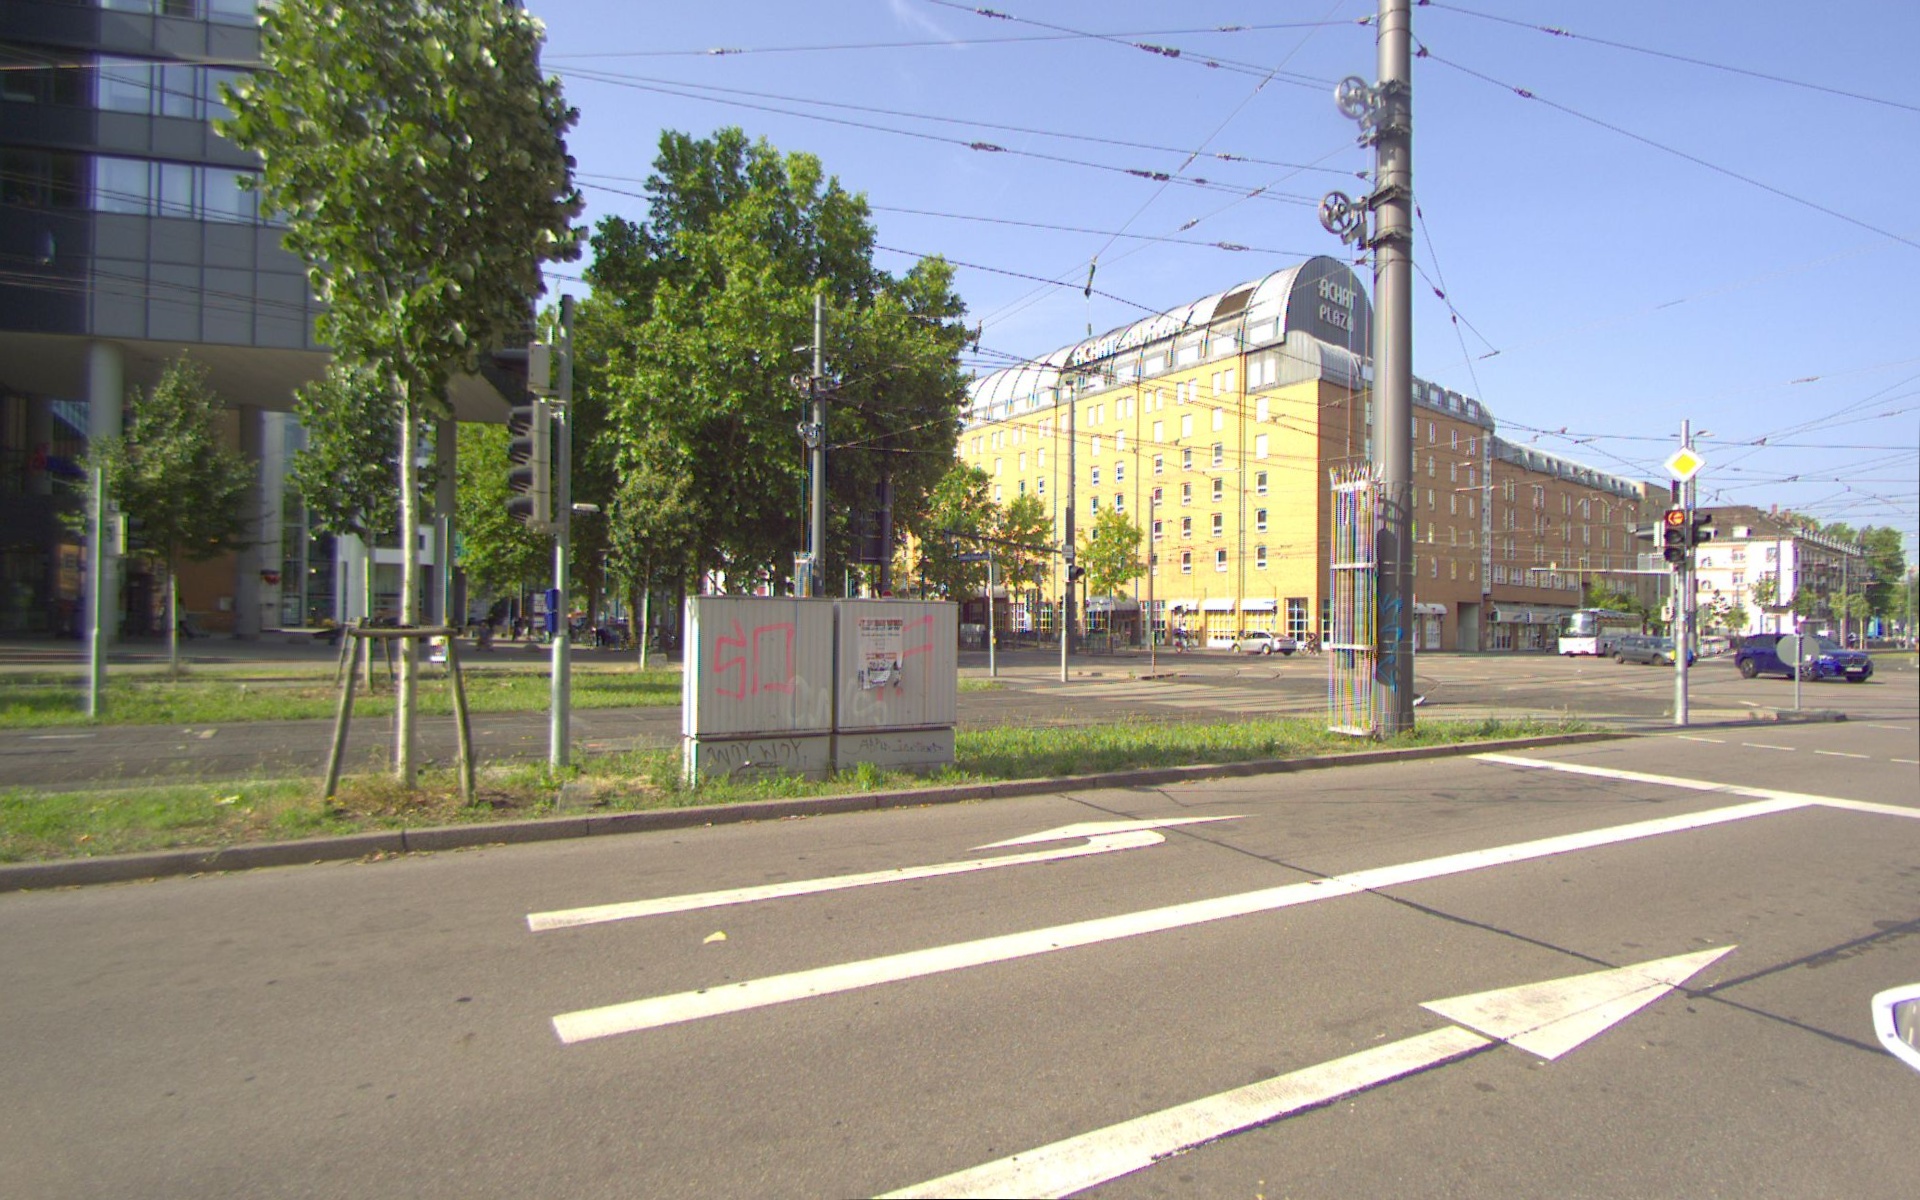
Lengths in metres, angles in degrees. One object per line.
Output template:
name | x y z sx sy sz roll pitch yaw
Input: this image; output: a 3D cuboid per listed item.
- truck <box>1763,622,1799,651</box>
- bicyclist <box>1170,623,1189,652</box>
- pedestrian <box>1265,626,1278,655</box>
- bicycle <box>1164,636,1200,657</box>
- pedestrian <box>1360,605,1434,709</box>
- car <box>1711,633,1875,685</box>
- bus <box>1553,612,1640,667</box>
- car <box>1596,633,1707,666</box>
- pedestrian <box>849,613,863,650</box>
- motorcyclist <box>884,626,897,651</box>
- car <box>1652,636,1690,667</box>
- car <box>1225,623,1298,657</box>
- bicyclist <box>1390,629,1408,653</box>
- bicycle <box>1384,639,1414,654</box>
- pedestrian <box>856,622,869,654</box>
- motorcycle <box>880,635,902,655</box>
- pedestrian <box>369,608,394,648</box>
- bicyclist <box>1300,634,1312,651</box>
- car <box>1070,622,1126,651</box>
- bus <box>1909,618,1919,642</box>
truck | 77.883 3.465 95.260 4.705 2.633 1.975 3 -2 -42
bicyclist | 13.796 2.367 63.126 0.952 1.769 0.664 2 -2 -17
pedestrian | 21.651 2.785 69.784 0.735 1.978 0.883 0 -1 22
bicycle | 13.969 2.931 63.179 2.251 1.222 0.548 3 -2 -18
pedestrian | 8.886 1.142 20.429 1.143 2.040 0.771 0 -2 45
car | 28.930 2.018 35.110 1.954 1.657 4.413 2 -2 -3
bus | 49.872 3.182 78.457 12.132 3.972 2.721 4 -3 -43
car | 34.126 2.411 49.713 1.969 1.506 4.204 3 -2 -18
pedestrian | -5.800 1.740 56.114 0.534 2.040 0.486 3 -2 -37
motorcyclist | -3.662 2.029 53.152 0.414 1.339 0.527 3 -2 -37
car | 49.127 3.564 69.392 2.709 2.040 1.587 4 -3 -41
car | 18.777 2.479 62.785 1.971 2.040 4.593 1 -1 -21
bicyclist | 31.238 2.911 71.439 0.666 1.718 0.977 4 -2 -45
bicycle | 31.222 3.278 71.429 0.417 0.982 1.940 4 -3 -44
pedestrian | -5.406 2.116 55.655 0.504 1.748 0.527 3 -2 -37
motorcycle | -3.665 2.396 53.127 0.281 1.008 1.678 3 -2 -36
pedestrian | -22.995 1.125 39.923 0.651 1.563 0.617 1 -1 -11
bicyclist | 23.436 2.894 68.054 0.603 1.144 0.519 3 -2 -31
car | 10.460 2.779 76.266 1.982 2.040 3.957 3 -2 -37
bus | 85.028 2.638 88.383 3.971 2.040 1.975 2 -1 -42
